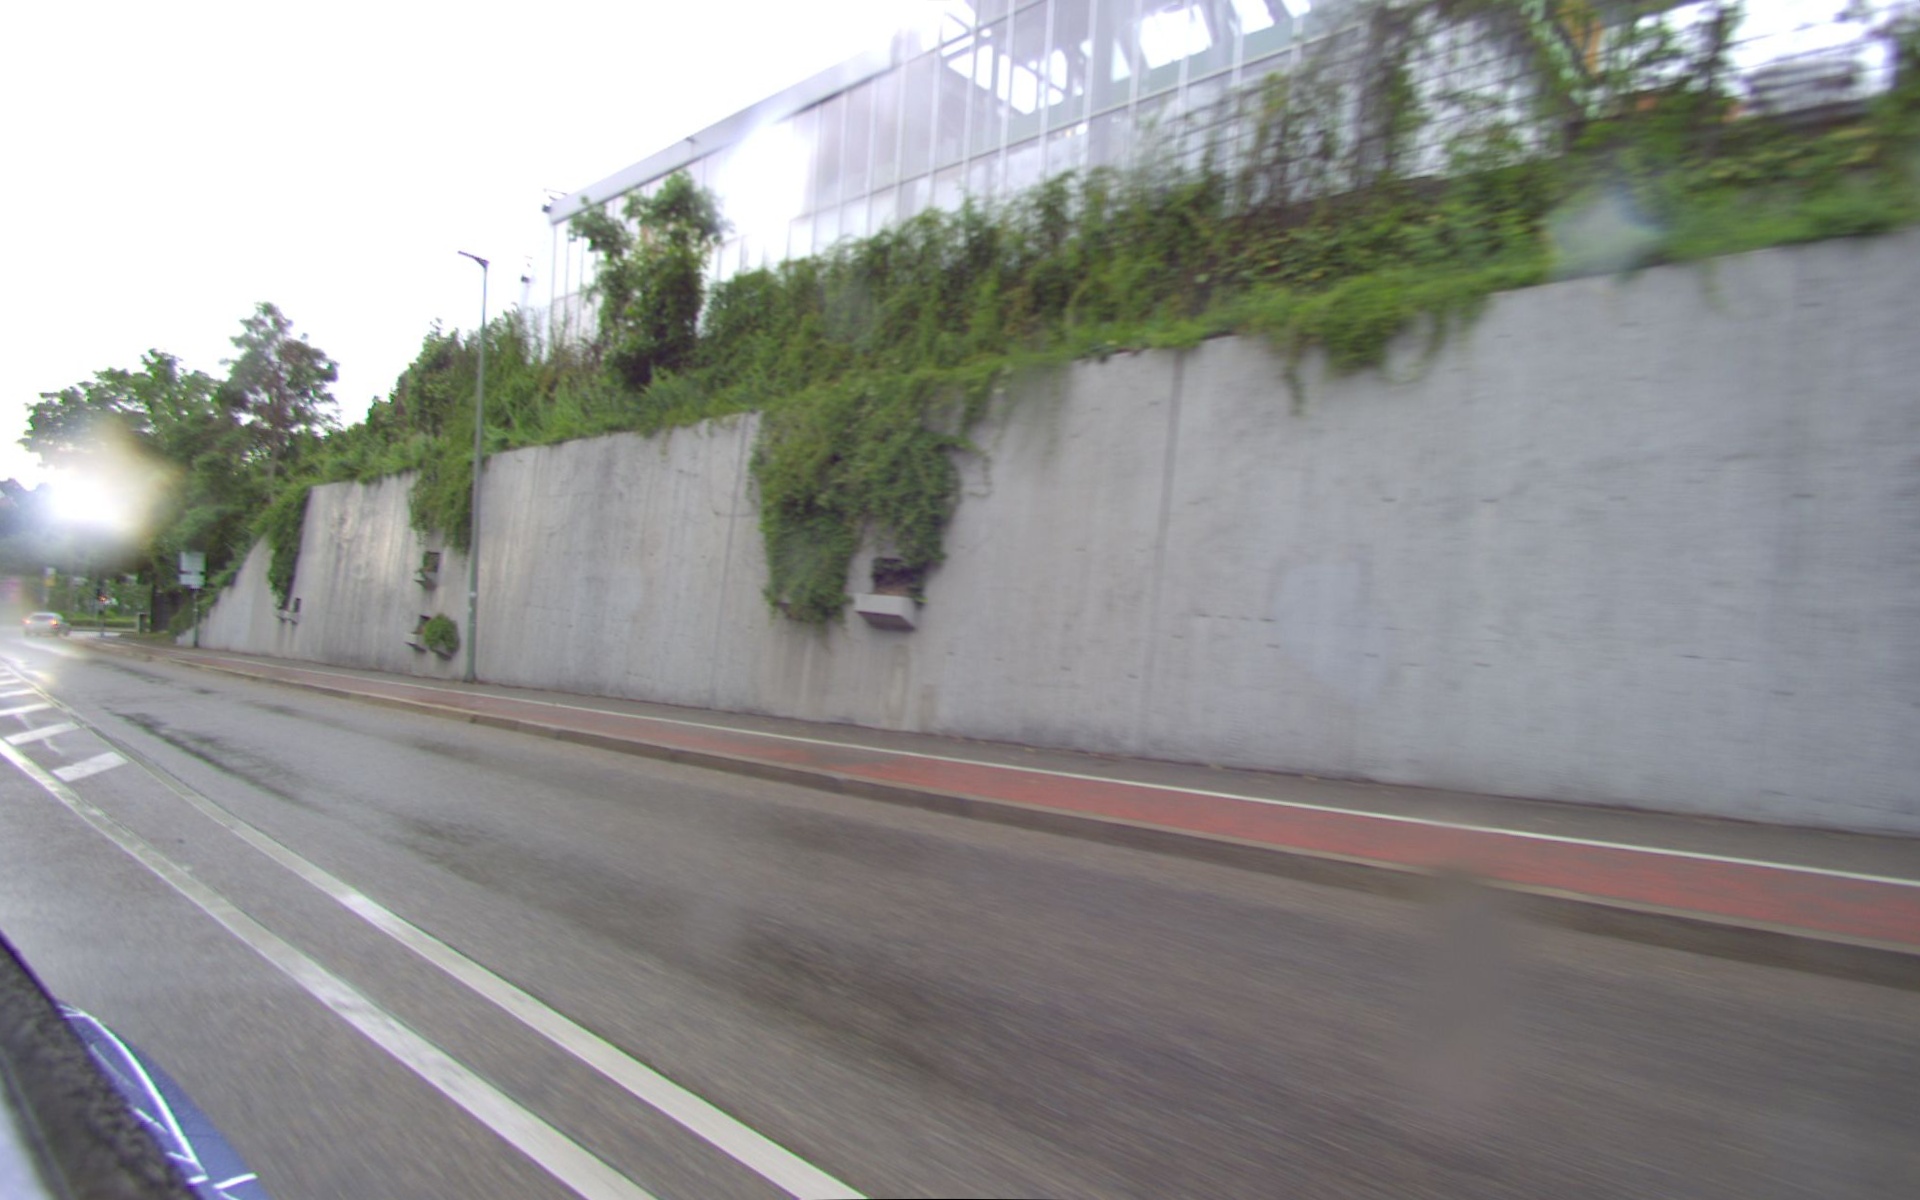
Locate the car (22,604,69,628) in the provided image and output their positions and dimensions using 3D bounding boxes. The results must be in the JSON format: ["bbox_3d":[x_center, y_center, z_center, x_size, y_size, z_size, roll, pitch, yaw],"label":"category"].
[{"bbox_3d":[-58.871,1.029,65.225,1.491,1.459,3.828,-1,0,-31],"label":"car"}]
